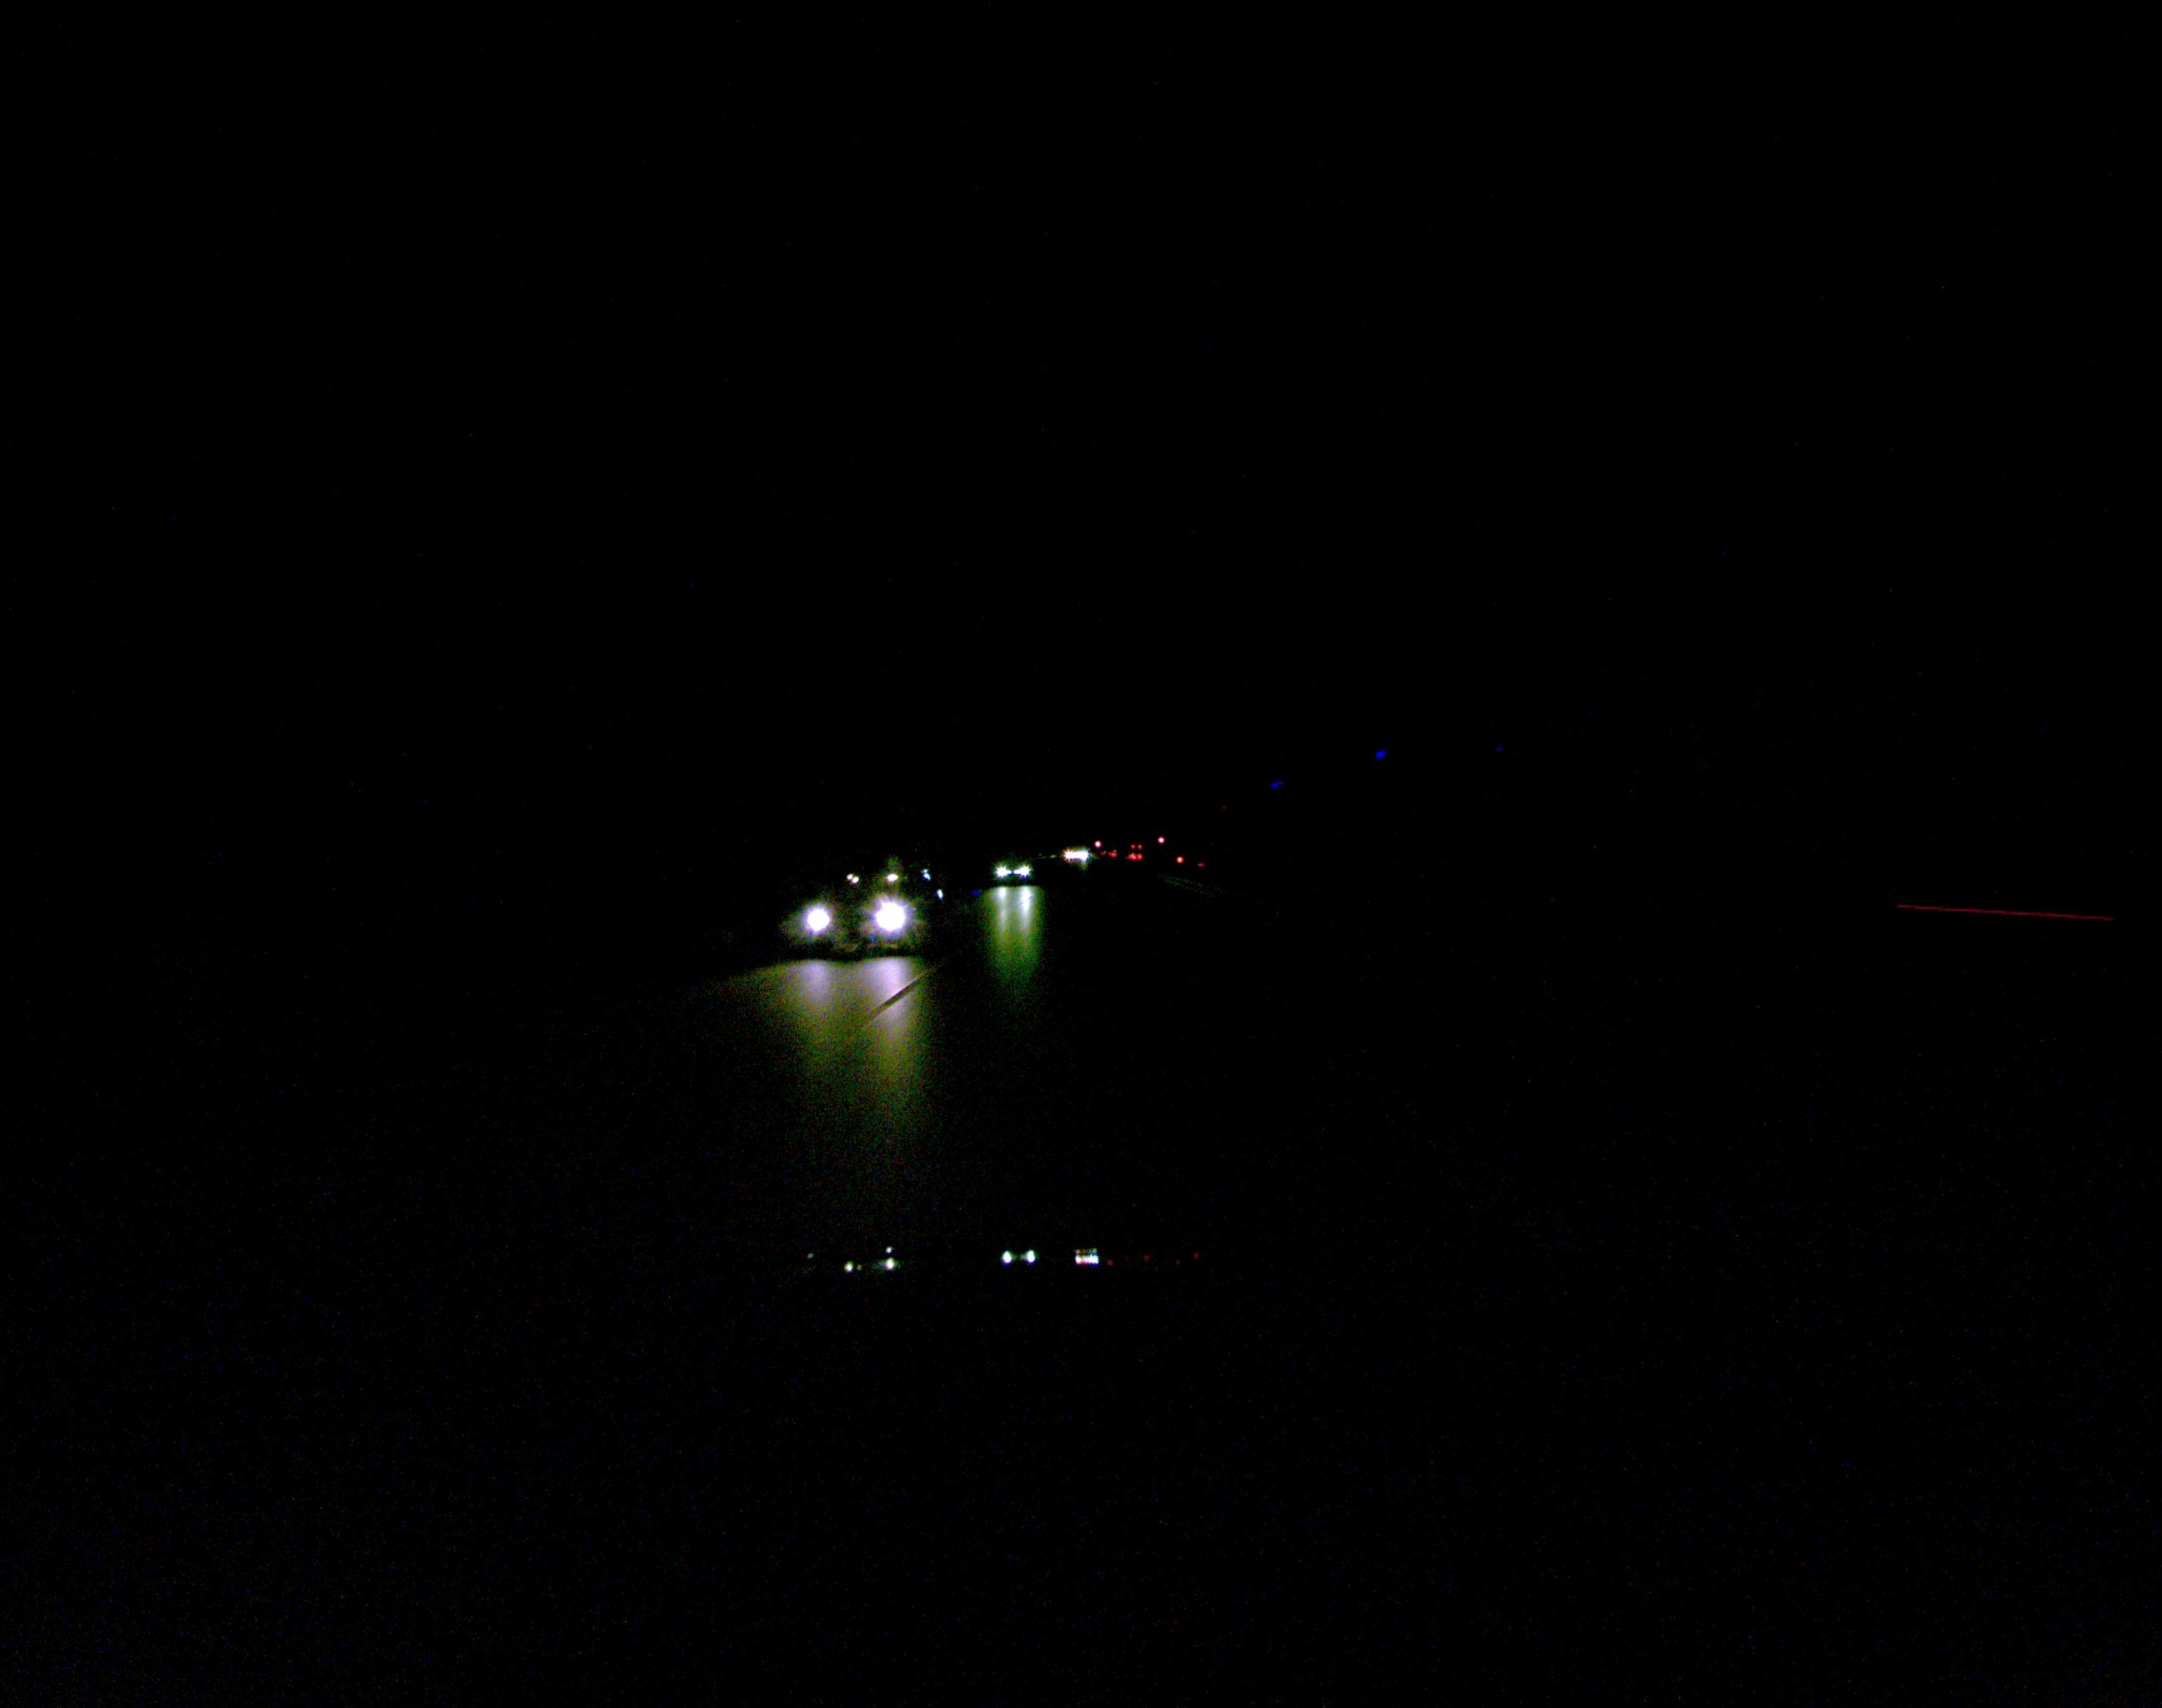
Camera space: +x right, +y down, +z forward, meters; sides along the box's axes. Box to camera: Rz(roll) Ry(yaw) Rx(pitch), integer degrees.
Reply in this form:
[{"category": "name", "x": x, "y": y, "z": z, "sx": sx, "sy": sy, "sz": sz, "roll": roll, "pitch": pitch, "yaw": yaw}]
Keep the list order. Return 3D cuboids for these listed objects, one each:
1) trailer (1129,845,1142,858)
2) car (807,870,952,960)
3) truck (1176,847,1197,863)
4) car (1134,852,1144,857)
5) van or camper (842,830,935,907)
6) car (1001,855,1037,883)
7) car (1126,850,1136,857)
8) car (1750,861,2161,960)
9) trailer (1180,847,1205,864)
[{"category": "trailer", "x": 17.763, "y": -0.790, "z": 248.293, "sx": 2.867, "sy": 4.152, "sz": 13.902, "roll": 1, "pitch": 1, "yaw": 0}, {"category": "car", "x": -3.774, "y": 1.082, "z": 14.990, "sx": 1.690, "sy": 1.405, "sz": 4.225, "roll": -1, "pitch": 0, "yaw": 0}, {"category": "truck", "x": 13.233, "y": 0.102, "z": 95.829, "sx": 1.998, "sy": 1.931, "sz": 5.240, "roll": 0, "pitch": 1, "yaw": 1}, {"category": "car", "x": 14.172, "y": 0.097, "z": 186.233, "sx": 1.999, "sy": 1.386, "sz": 5.705, "roll": 1, "pitch": 0, "yaw": 0}, {"category": "van or camper", "x": -7.722, "y": 0.531, "z": 31.373, "sx": 2.213, "sy": 2.755, "sz": 6.802, "roll": -2, "pitch": 0, "yaw": -2}, {"category": "car", "x": -3.756, "y": 0.867, "z": 46.579, "sx": 1.795, "sy": 1.532, "sz": 4.225, "roll": -3, "pitch": 0, "yaw": 0}, {"category": "car", "x": 11.587, "y": -0.129, "z": 176.634, "sx": 1.998, "sy": 1.453, "sz": 4.900, "roll": 1, "pitch": 0, "yaw": 1}, {"category": "car", "x": 16.295, "y": 0.927, "z": 14.754, "sx": 1.999, "sy": 1.495, "sz": 5.200, "roll": 1, "pitch": 0, "yaw": 0}, {"category": "trailer", "x": 13.131, "y": 0.159, "z": 89.938, "sx": 1.998, "sy": 1.928, "sz": 6.622, "roll": 0, "pitch": 0, "yaw": 1}]
